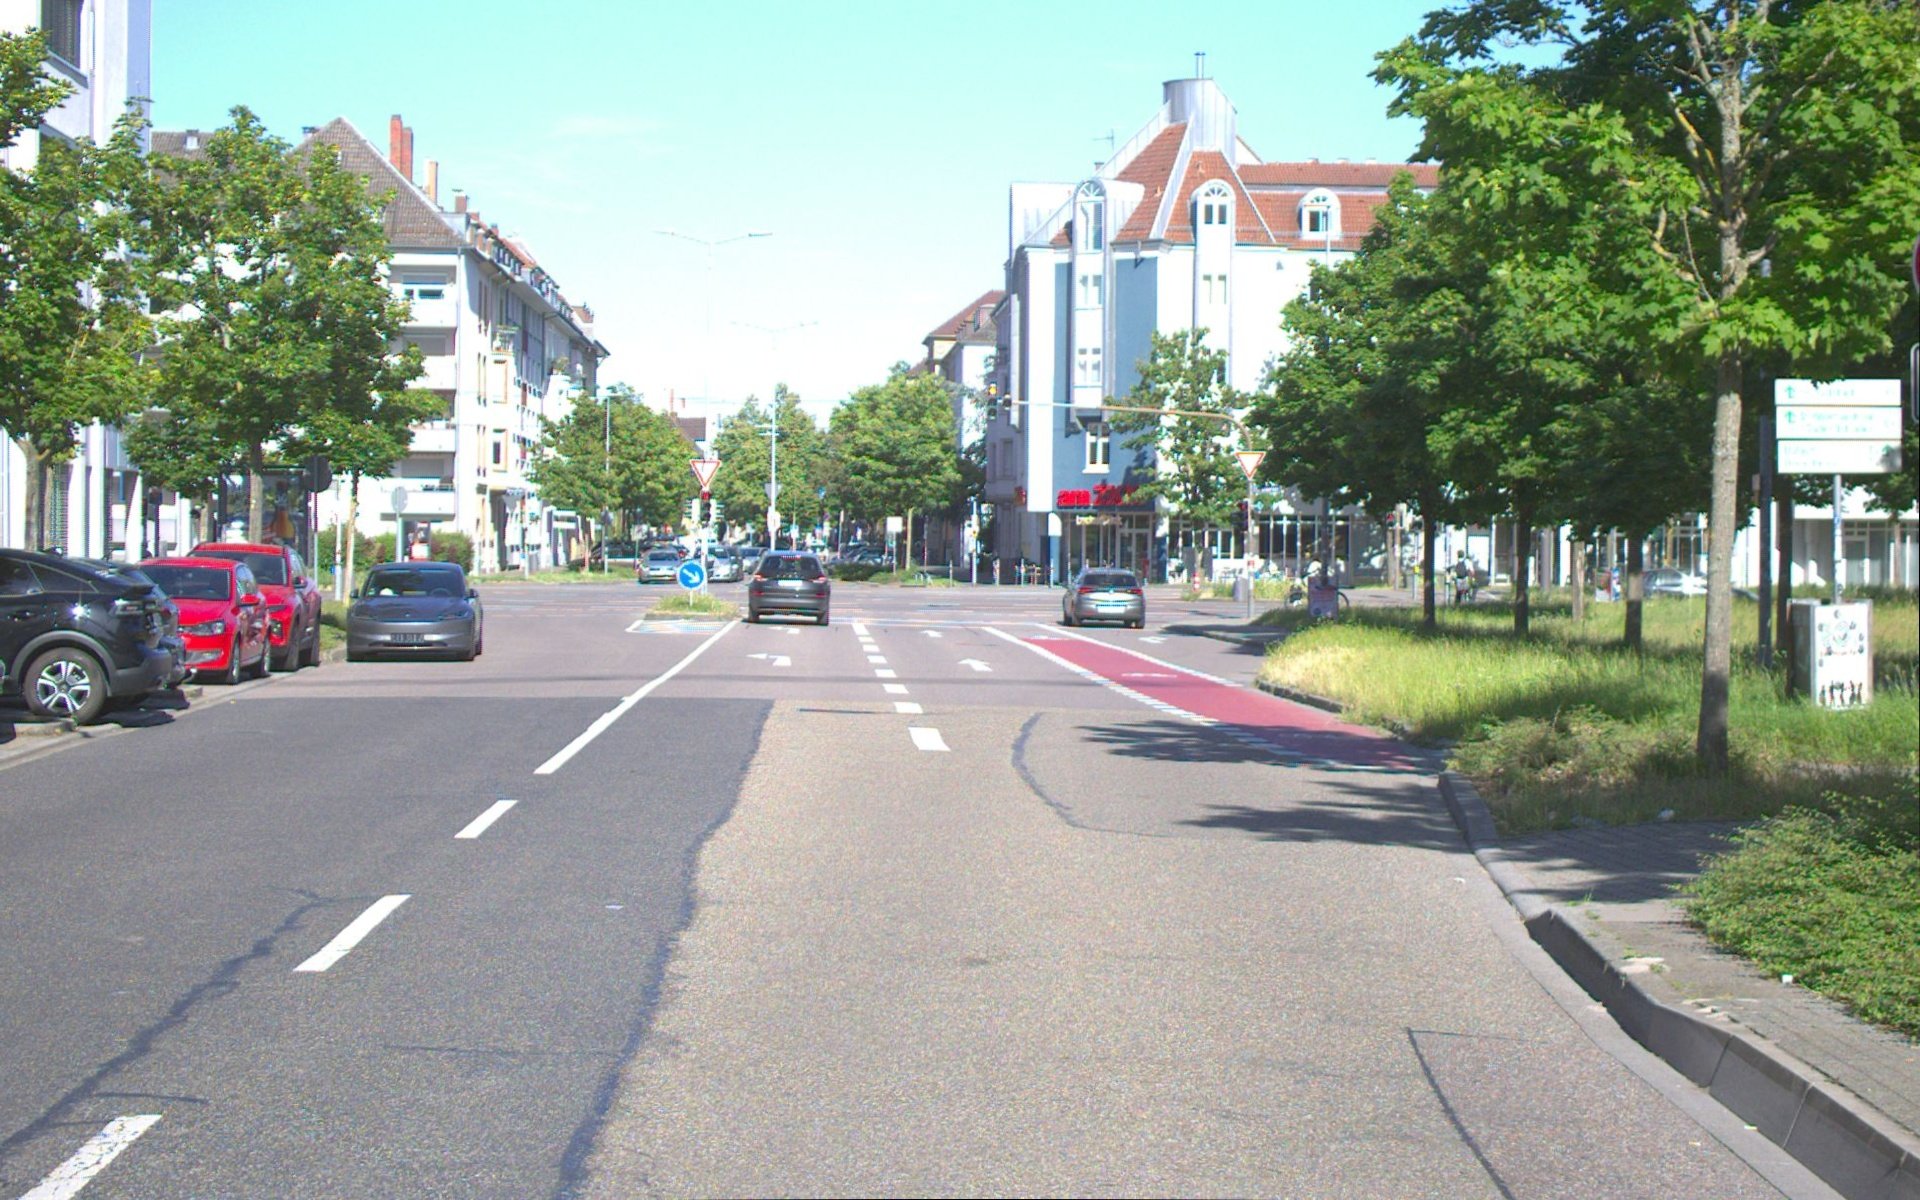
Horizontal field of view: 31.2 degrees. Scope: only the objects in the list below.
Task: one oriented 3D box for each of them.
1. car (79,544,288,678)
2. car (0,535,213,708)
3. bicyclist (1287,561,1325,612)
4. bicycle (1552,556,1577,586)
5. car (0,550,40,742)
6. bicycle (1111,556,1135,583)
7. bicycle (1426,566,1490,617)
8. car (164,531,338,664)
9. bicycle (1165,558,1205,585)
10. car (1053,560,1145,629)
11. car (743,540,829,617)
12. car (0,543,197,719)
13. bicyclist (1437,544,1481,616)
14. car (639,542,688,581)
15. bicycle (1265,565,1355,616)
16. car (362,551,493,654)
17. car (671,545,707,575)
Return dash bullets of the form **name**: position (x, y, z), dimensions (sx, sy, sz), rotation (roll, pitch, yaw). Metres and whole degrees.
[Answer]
- **car**: position (-9.131, 0.098, 40.692), dimensions (1.688, 1.427, 3.872), rotation (3, 1, -2)
- **car**: position (-9.605, 0.131, 33.399), dimensions (4.384, 1.533, 1.694), rotation (3, 1, -7)
- **bicyclist**: position (9.227, -0.364, 91.685), dimensions (0.703, 1.343, 0.791), rotation (1, 1, 32)
- **bicycle**: position (24.300, -1.183, 138.221), dimensions (0.560, 1.178, 1.870), rotation (0, 1, -4)
- **car**: position (-9.374, 0.233, 25.900), dimensions (4.385, 1.427, 1.694), rotation (3, 1, -2)
- **bicycle**: position (6.165, -1.155, 130.413), dimensions (0.471, 1.024, 1.517), rotation (0, 1, -15)
- **bicycle**: position (13.600, -0.241, 93.809), dimensions (0.792, 1.343, 2.258), rotation (1, 1, 35)
- **car**: position (-9.443, -0.064, 46.071), dimensions (1.688, 1.601, 4.311), rotation (3, 1, -5)
- **bicycle**: position (8.652, -1.096, 132.252), dimensions (1.512, 1.024, 0.473), rotation (1, 1, 8)
- **car**: position (3.426, -0.149, 85.197), dimensions (1.688, 1.572, 3.872), rotation (3, 1, -5)
- **car**: position (-3.984, -0.506, 78.161), dimensions (1.753, 1.622, 4.479), rotation (3, 1, -5)
- **car**: position (-9.113, 0.187, 30.366), dimensions (4.384, 1.427, 1.694), rotation (3, 1, -5)
- **bicyclist**: position (13.619, -0.548, 93.839), dimensions (0.792, 1.952, 1.009), rotation (1, 1, 35)
- **car**: position (-12.657, -1.644, 146.922), dimensions (1.753, 1.551, 3.731), rotation (3, 1, -1)
- **bicycle**: position (9.329, -0.257, 91.610), dimensions (2.259, 1.343, 0.791), rotation (1, 1, 33)
- **car**: position (-7.978, 0.006, 51.811), dimensions (1.688, 1.463, 4.548), rotation (0, 1, -6)
- **car**: position (-15.041, -2.230, 190.900), dimensions (1.753, 1.551, 3.731), rotation (3, 1, -1)
